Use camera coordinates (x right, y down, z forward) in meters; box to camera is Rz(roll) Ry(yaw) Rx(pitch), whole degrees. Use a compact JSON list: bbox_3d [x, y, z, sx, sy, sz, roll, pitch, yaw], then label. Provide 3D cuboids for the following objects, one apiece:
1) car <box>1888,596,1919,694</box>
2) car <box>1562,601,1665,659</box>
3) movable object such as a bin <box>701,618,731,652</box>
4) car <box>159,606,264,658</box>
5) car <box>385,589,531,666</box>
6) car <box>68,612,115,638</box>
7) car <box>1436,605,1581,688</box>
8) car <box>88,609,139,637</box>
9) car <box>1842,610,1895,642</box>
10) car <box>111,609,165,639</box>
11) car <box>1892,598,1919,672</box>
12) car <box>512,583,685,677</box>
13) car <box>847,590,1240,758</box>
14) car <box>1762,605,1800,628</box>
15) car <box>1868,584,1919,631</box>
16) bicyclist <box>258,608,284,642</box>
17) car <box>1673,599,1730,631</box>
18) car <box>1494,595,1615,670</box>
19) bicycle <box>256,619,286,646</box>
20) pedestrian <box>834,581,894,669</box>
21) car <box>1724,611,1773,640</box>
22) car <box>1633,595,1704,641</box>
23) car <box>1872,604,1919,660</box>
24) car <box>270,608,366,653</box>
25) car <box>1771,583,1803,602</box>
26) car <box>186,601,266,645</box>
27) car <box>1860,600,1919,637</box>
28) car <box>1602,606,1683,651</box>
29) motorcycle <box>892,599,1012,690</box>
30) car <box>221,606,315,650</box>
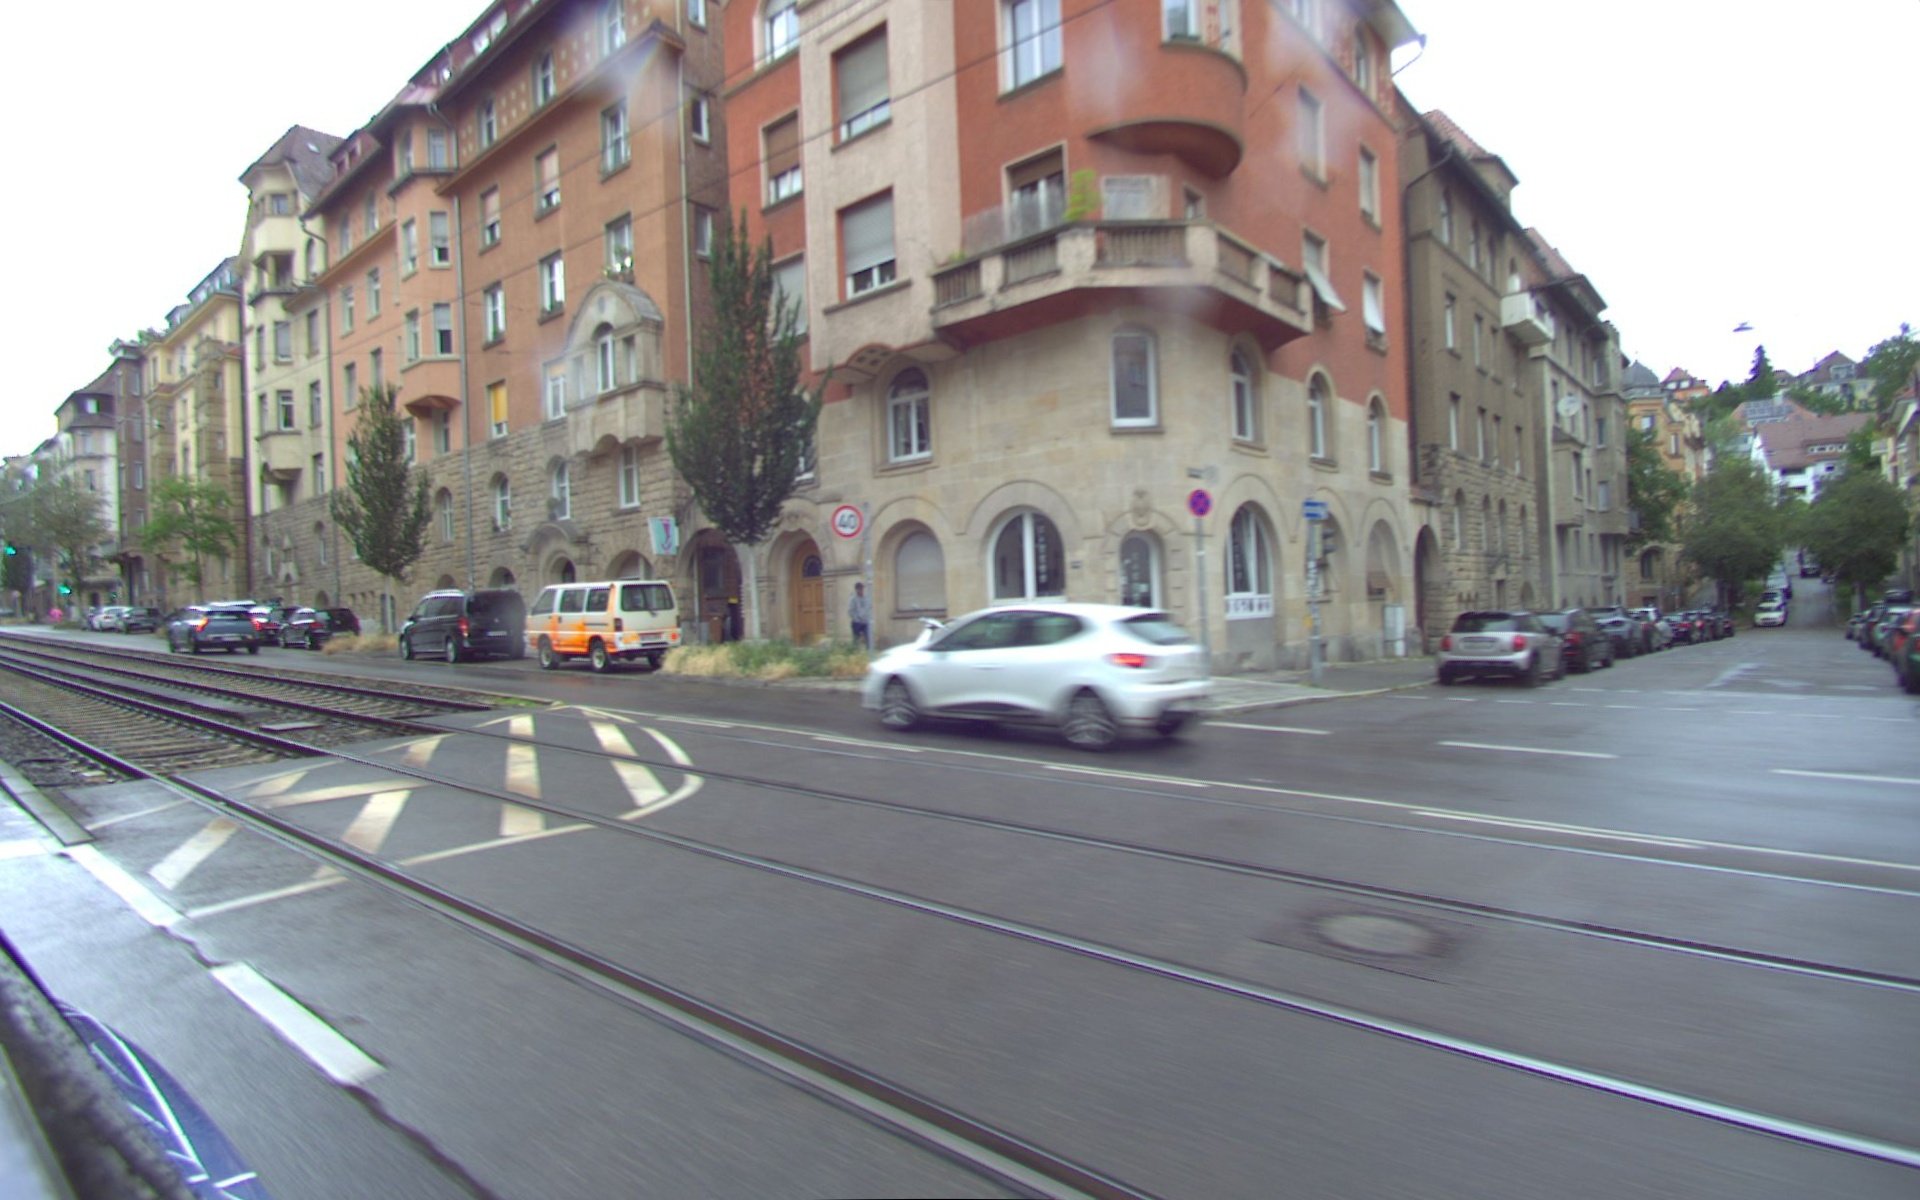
[{"bbox_3d":[17.555,0.726,17.413,1.997,1.586,3.949,0,0,38],"label":"car"},{"bbox_3d":[19.411,0.829,29.983,1.999,1.586,3.945,0,0,41],"label":"car"},{"bbox_3d":[-6.788,0.971,28.121,0.656,0.905,0.540,0,0,44],"label":"movable object such as a bin"},{"bbox_3d":[-25.030,1.023,33.800,4.125,1.629,1.902,0,0,40],"label":"car"},{"bbox_3d":[-13.851,0.697,27.806,4.830,1.945,1.886,0,0,41],"label":"car"},{"bbox_3d":[-53.284,1.491,62.091,3.712,1.438,1.736,0,3,43],"label":"car"},{"bbox_3d":[11.058,0.846,20.275,1.746,1.478,3.945,0,0,41],"label":"car"},{"bbox_3d":[-49.424,1.331,59.062,4.043,1.462,1.736,0,3,43],"label":"car"},{"bbox_3d":[47.647,1.317,53.143,1.999,1.586,3.945,0,0,41],"label":"car"},{"bbox_3d":[-44.766,1.280,55.084,3.712,1.493,1.695,0,3,43],"label":"car"},{"bbox_3d":[22.506,0.759,22.879,1.999,1.586,3.945,0,0,41],"label":"car"},{"bbox_3d":[-8.280,0.634,23.021,4.473,1.945,1.711,0,0,40],"label":"car"},{"bbox_3d":[0.796,0.674,11.133,4.059,1.514,1.763,0,0,40],"label":"car"},{"bbox_3d":[57.280,1.112,70.603,1.998,1.586,3.947,0,0,39],"label":"car"},{"bbox_3d":[33.306,0.257,35.563,1.999,1.586,3.945,0,0,41],"label":"car"},{"bbox_3d":[-33.187,1.185,48.753,0.774,1.613,0.883,0,0,41],"label":"bicyclist"},{"bbox_3d":[37.883,0.734,51.678,1.999,1.586,3.945,0,0,41],"label":"car"},{"bbox_3d":[13.961,0.694,23.679,1.997,1.586,3.950,0,0,37],"label":"car"},{"bbox_3d":[-33.180,1.546,48.724,2.052,1.231,0.685,0,0,42],"label":"bicycle"},{"bbox_3d":[-2.006,0.509,21.084,0.892,1.732,0.709,0,5,41],"label":"pedestrian"},{"bbox_3d":[45.673,1.450,58.584,1.999,1.586,3.945,0,0,41],"label":"car"},{"bbox_3d":[30.610,0.747,43.684,2.070,1.921,3.945,0,0,41],"label":"car"},{"bbox_3d":[28.311,0.901,29.861,1.999,1.586,3.945,0,0,41],"label":"car"},{"bbox_3d":[-22.809,1.042,35.913,3.691,1.414,1.738,0,2,39],"label":"car"},{"bbox_3d":[68.679,-0.592,84.095,1.998,1.586,3.947,0,0,39],"label":"car"},{"bbox_3d":[-31.094,0.953,42.840,4.257,1.684,1.737,0,3,41],"label":"car"},{"bbox_3d":[42.496,0.806,46.247,1.999,1.586,3.945,0,0,41],"label":"car"},{"bbox_3d":[25.249,1.004,37.371,1.999,1.586,3.945,0,0,41],"label":"car"},{"bbox_3d":[-0.135,0.677,16.028,1.754,1.385,0.770,0,0,-17],"label":"motorcycle"},{"bbox_3d":[-26.663,1.034,38.952,4.594,1.502,1.738,0,2,40],"label":"car"}]
